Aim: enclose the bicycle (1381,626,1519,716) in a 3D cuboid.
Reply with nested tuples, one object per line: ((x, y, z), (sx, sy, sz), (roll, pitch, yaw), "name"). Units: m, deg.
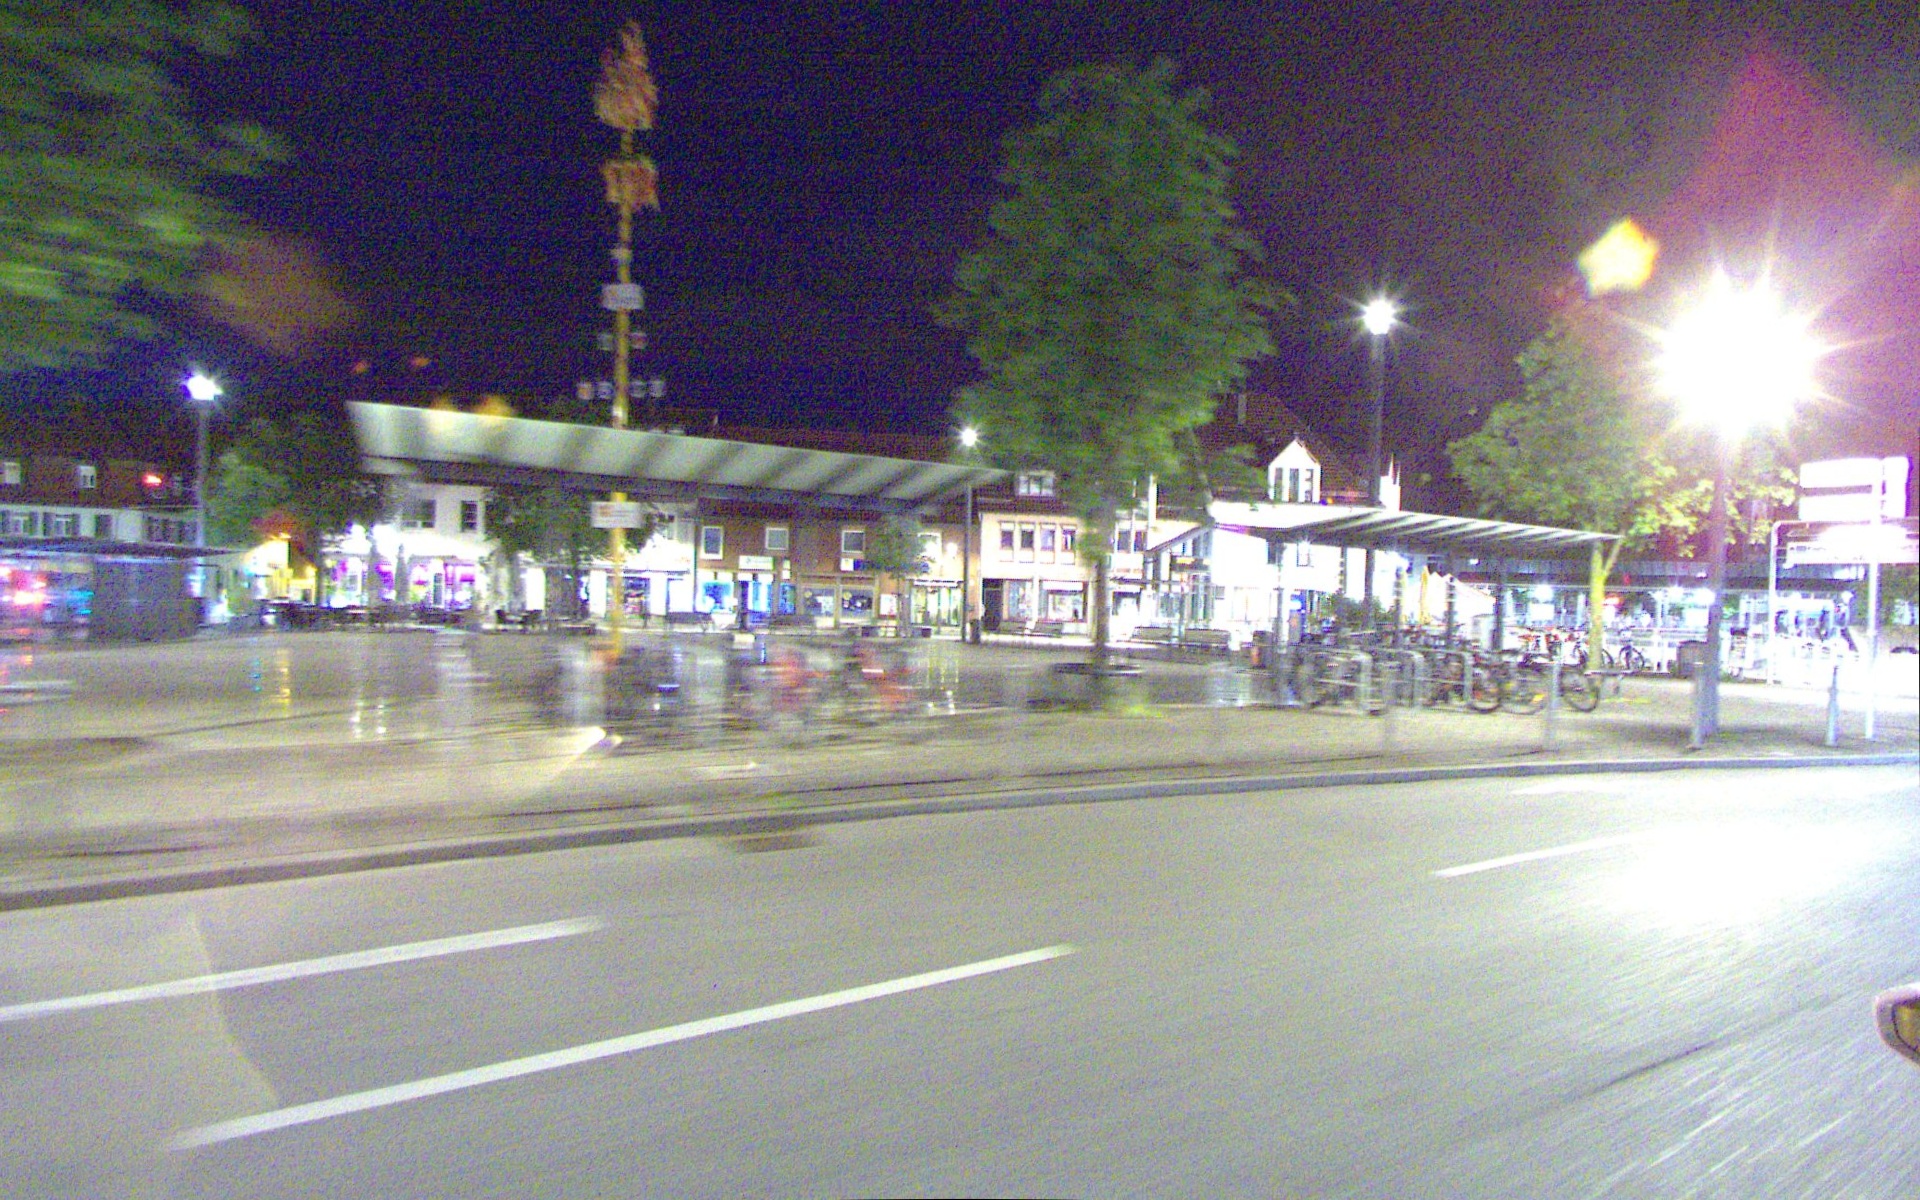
((6.766, 0.952, 13.944), (0.662, 1.120, 1.608), (2, 0, -30), "bicycle")

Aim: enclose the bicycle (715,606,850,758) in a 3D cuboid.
((-1.694, 0.703, 9.335), (0.776, 1.173, 1.729), (2, 2, -25), "bicycle")

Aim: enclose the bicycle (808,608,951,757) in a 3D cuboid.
((-0.807, 0.717, 9.531), (0.776, 1.182, 1.729), (1, 3, -25), "bicycle")

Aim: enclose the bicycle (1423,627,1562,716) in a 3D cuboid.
((7.487, 0.975, 14.182), (0.662, 1.120, 1.608), (2, 0, -30), "bicycle")

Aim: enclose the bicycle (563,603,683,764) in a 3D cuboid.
((-3.031, 0.677, 8.908), (0.776, 1.173, 1.828), (2, 2, -25), "bicycle")

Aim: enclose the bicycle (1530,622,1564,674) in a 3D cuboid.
((14.292, 1.149, 24.476), (0.598, 1.181, 1.745), (0, 0, 27), "bicycle")

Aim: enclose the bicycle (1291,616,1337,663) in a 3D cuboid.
((9.841, 1.067, 27.887), (0.600, 1.235, 1.738), (0, 0, 41), "bicycle")

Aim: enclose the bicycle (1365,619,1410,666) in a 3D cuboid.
((11.443, 1.111, 26.852), (0.600, 1.181, 1.738), (0, 0, 41), "bicycle")

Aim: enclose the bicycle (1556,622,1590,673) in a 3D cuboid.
((15.190, 1.144, 24.909), (0.598, 1.181, 1.745), (0, 0, 27), "bicycle")

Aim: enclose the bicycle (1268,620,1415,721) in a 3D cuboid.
((4.916, 0.871, 13.067), (0.662, 1.179, 1.760), (1, 0, -30), "bicycle")

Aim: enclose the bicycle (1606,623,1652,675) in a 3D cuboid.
((16.293, 1.165, 24.490), (0.747, 1.177, 1.745), (0, 0, 27), "bicycle")

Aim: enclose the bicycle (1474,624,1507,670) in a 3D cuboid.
((13.549, 1.182, 25.688), (0.597, 1.084, 1.746), (0, 0, 23), "bicycle")

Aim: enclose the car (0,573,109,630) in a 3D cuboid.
((-33.436, 0.059, 36.666), (1.928, 1.963, 4.404), (0, 0, -15), "car")

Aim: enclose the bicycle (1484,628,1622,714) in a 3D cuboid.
((8.643, 1.010, 14.700), (0.662, 1.120, 1.608), (2, 0, -30), "bicycle")

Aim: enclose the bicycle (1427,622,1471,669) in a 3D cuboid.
((12.605, 1.156, 25.865), (0.600, 1.140, 1.738), (0, 0, 41), "bicycle")

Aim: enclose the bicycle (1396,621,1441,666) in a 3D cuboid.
((12.231, 1.148, 26.773), (0.600, 1.115, 1.738), (0, 0, 41), "bicycle")

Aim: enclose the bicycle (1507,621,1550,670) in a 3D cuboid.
((14.552, 1.135, 25.707), (0.600, 1.181, 1.737), (0, 0, 42), "bicycle")

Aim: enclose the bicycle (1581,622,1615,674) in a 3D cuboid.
((15.442, 1.147, 24.345), (0.535, 1.170, 1.745), (0, 0, 27), "bicycle")
